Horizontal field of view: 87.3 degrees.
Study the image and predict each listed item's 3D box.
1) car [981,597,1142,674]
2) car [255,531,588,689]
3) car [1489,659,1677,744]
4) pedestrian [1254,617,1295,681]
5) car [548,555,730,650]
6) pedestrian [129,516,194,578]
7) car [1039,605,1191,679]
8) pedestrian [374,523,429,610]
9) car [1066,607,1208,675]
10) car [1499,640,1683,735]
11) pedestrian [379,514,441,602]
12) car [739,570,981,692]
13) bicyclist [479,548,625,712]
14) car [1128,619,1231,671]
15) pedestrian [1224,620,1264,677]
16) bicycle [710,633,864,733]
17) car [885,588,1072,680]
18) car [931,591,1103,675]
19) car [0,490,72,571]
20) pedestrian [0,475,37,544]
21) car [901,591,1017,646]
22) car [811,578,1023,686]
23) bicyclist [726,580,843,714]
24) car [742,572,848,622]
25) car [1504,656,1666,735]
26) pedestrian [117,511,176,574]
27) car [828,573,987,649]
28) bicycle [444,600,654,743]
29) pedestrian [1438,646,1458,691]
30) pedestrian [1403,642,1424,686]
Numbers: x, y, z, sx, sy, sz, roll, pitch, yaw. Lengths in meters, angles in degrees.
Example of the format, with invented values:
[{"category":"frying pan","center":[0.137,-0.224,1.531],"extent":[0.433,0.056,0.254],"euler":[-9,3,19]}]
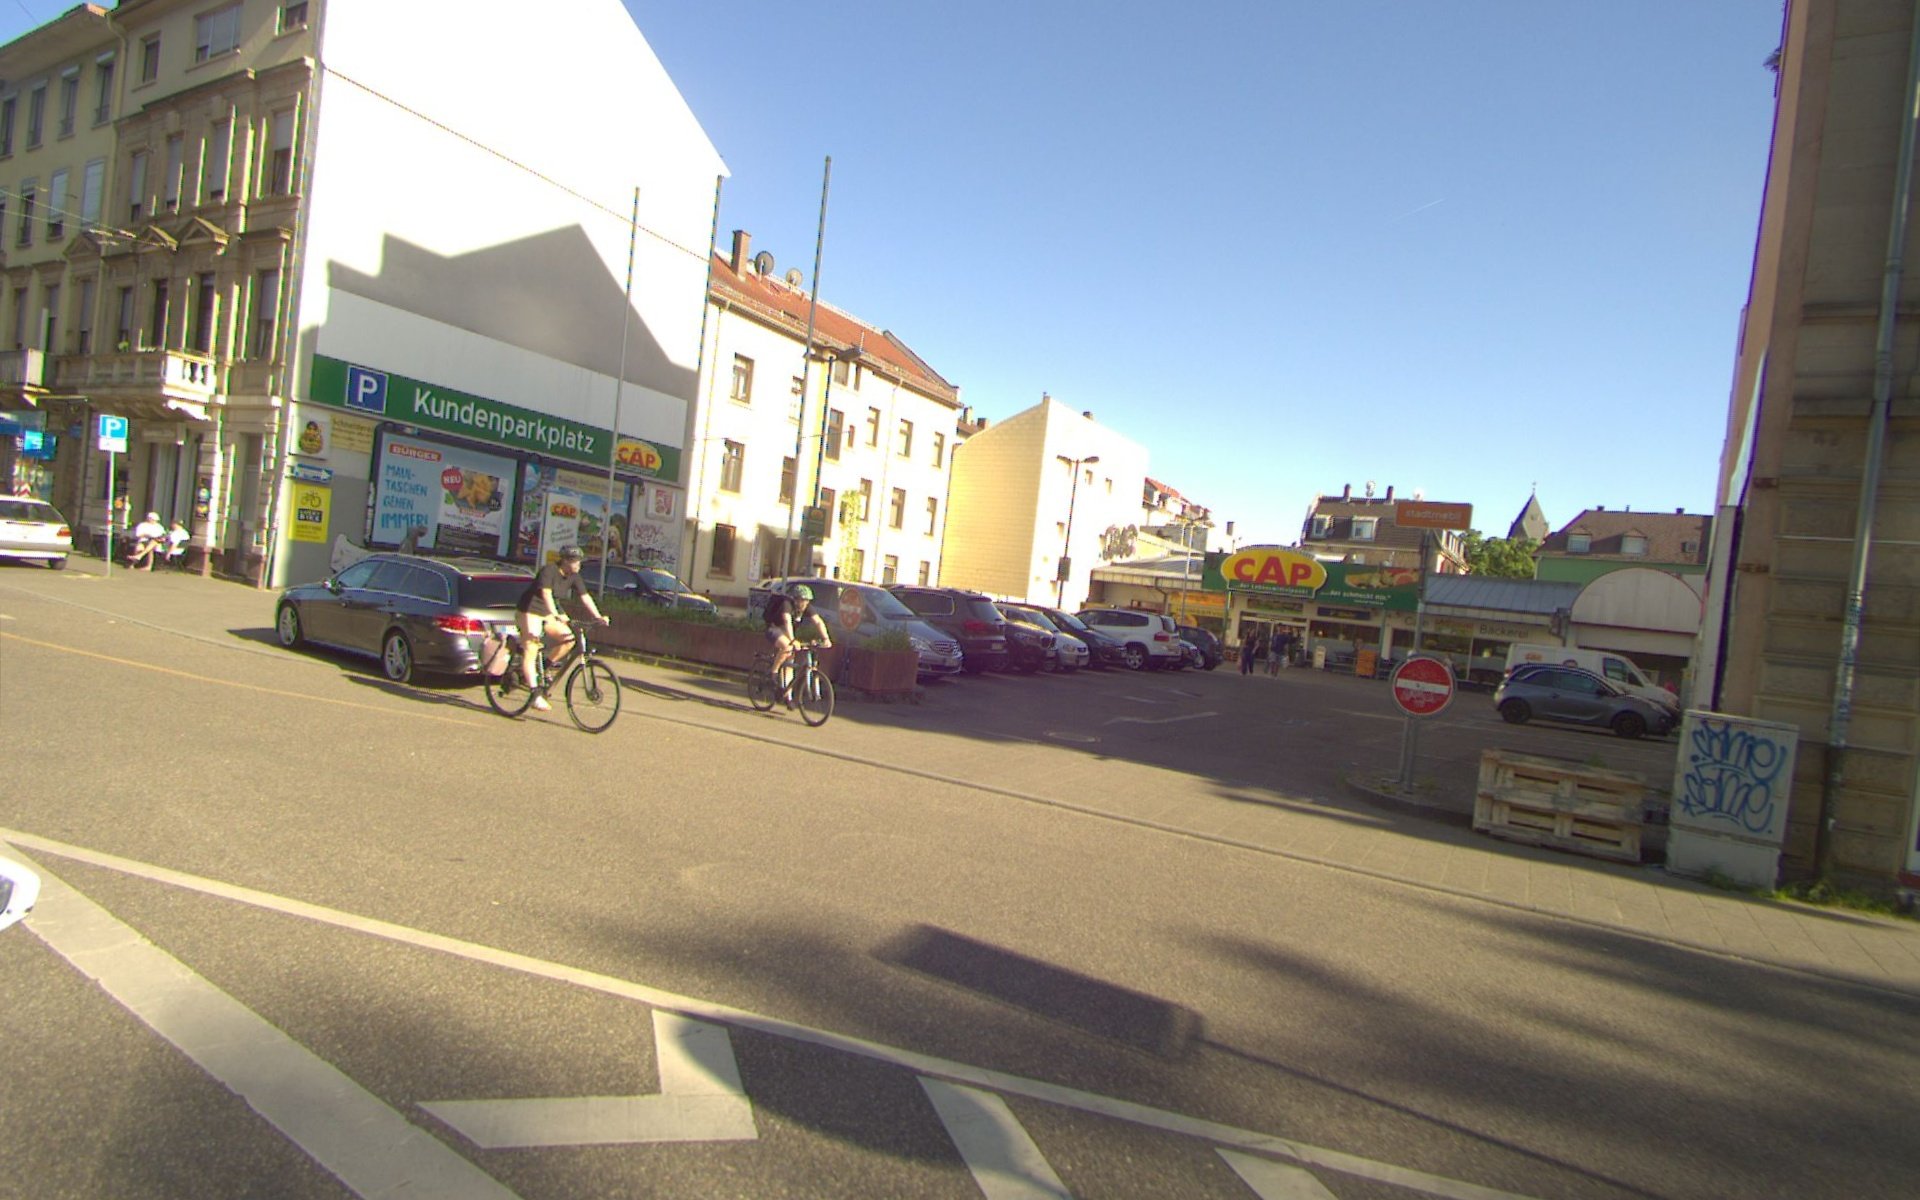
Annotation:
[{"category":"car","center":[2.697,0.945,27.041],"extent":[3.871,1.564,1.544],"euler":[7,1,30]},{"category":"car","center":[-7.305,0.057,13.490],"extent":[4.656,1.507,1.833],"euler":[7,3,32]},{"category":"car","center":[14.813,2.381,24.048],"extent":[3.586,1.481,1.677],"euler":[6,0,33]},{"category":"pedestrian","center":[10.523,1.641,33.668],"extent":[0.908,2.039,0.818],"euler":[7,1,31]},{"category":"car","center":[-6.642,0.051,20.768],"extent":[3.335,1.504,1.561],"euler":[7,0,28]},{"category":"pedestrian","center":[-18.016,-1.186,22.698],"extent":[0.644,1.298,0.902],"euler":[7,2,26]},{"category":"car","center":[4.450,1.194,29.101],"extent":[3.871,1.601,1.659],"euler":[7,1,30]},{"category":"pedestrian","center":[-11.997,-0.704,21.616],"extent":[0.503,1.777,0.763],"euler":[7,1,11]},{"category":"car","center":[5.417,1.244,30.975],"extent":[3.871,1.564,1.544],"euler":[7,1,30]},{"category":"car","center":[21.230,2.898,34.003],"extent":[4.816,2.442,1.702],"euler":[7,1,42]},{"category":"pedestrian","center":[-12.325,-0.928,22.566],"extent":[0.734,1.864,0.763],"euler":[7,1,12]},{"category":"car","center":[-1.841,0.541,18.317],"extent":[3.930,1.665,1.748],"euler":[7,0,28]},{"category":"bicyclist","center":[-4.063,0.308,10.042],"extent":[0.934,1.479,0.747],"euler":[7,-1,22]},{"category":"car","center":[7.879,1.601,36.126],"extent":[3.148,1.431,1.544],"euler":[7,1,30]},{"category":"pedestrian","center":[9.628,1.656,34.074],"extent":[0.908,1.818,0.818],"euler":[7,1,31]},{"category":"bicycle","center":[-2.154,0.989,12.425],"extent":[1.886,0.933,0.649],"euler":[7,4,33]},{"category":"car","center":[0.393,0.753,22.906],"extent":[3.870,1.564,1.544],"euler":[7,1,29]},{"category":"car","center":[1.392,0.805,25.092],"extent":[3.871,1.564,1.544],"euler":[7,1,30]},{"category":"car","center":[-20.145,-1.531,20.812],"extent":[3.937,1.435,1.562],"euler":[7,4,31]},{"category":"pedestrian","center":[-26.578,-2.543,28.325],"extent":[0.522,1.830,0.673],"euler":[7,3,31]},{"category":"car","center":[-0.056,0.673,37.890],"extent":[3.933,1.538,1.723],"euler":[7,1,31]},{"category":"car","center":[-0.921,0.655,20.964],"extent":[3.931,1.714,1.748],"euler":[7,0,29]},{"category":"bicyclist","center":[-2.156,0.548,12.338],"extent":[1.162,1.466,0.676],"euler":[7,5,32]},{"category":"car","center":[-6.700,-0.127,40.784],"extent":[3.933,1.482,1.756],"euler":[7,0,31]},{"category":"car","center":[17.461,2.636,28.160],"extent":[3.590,1.691,1.675],"euler":[6,0,37]},{"category":"pedestrian","center":[-18.632,-1.314,23.039],"extent":[0.598,1.297,0.799],"euler":[7,1,29]},{"category":"car","center":[-1.589,0.305,29.846],"extent":[4.309,1.687,1.756],"euler":[7,0,31]},{"category":"bicycle","center":[-4.114,0.685,10.053],"extent":[1.919,1.116,0.758],"euler":[7,1,26]},{"category":"pedestrian","center":[23.121,3.229,47.656],"extent":[0.636,2.039,0.561],"euler":[7,1,29]},{"category":"pedestrian","center":[21.842,3.091,48.428],"extent":[0.636,2.039,0.561],"euler":[7,1,31]}]
